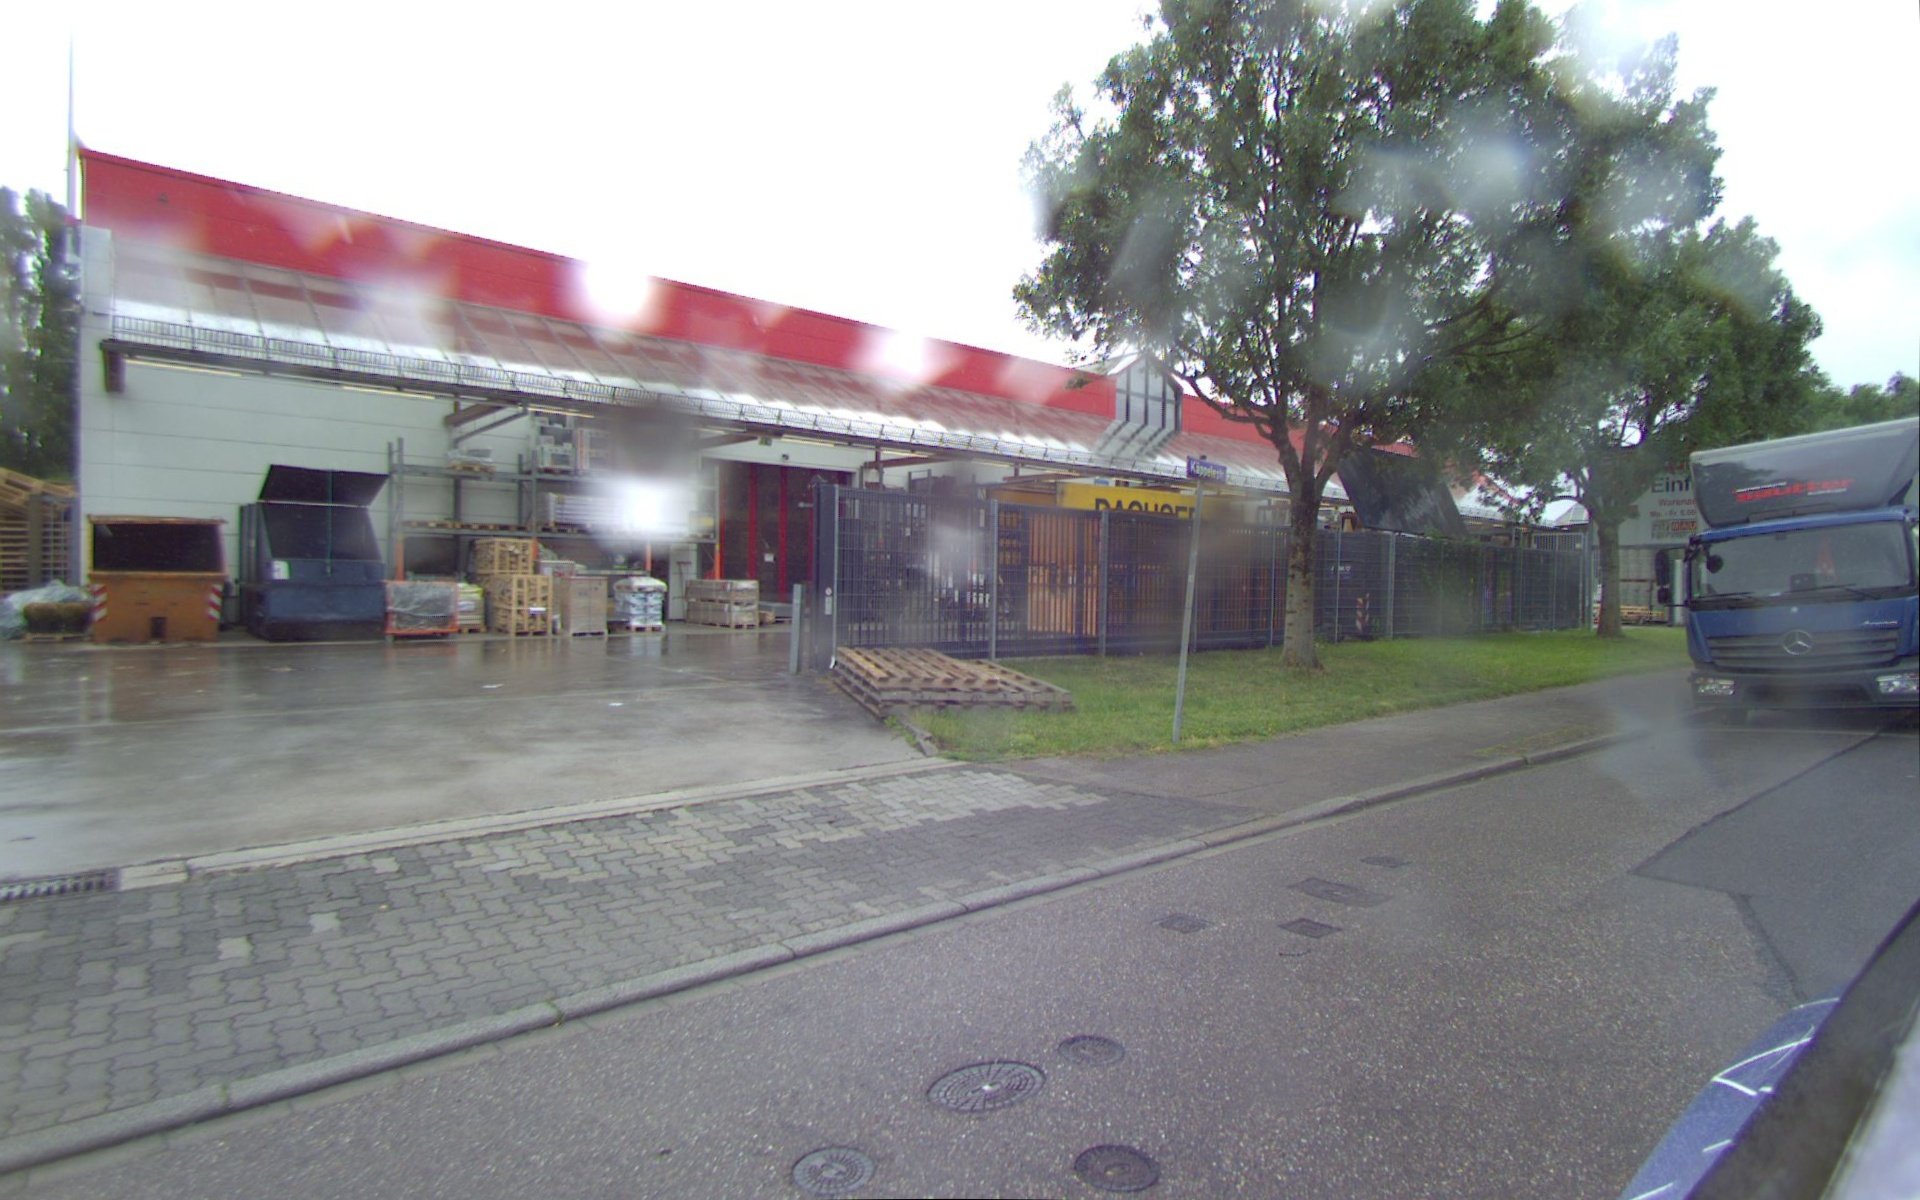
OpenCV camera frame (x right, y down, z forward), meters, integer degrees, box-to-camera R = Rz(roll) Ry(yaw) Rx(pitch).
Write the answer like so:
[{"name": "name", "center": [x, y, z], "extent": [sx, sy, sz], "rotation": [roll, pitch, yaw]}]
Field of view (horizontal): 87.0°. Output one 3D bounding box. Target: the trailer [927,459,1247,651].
[{"name": "trailer", "center": [3.660, -1.162, 26.821], "extent": [9.306, 4.295, 2.973], "rotation": [-2, 2, -41]}]

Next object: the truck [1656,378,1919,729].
[{"name": "truck", "center": [12.597, -0.502, 14.124], "extent": [7.867, 3.739, 2.676], "rotation": [0, -1, -40]}]
